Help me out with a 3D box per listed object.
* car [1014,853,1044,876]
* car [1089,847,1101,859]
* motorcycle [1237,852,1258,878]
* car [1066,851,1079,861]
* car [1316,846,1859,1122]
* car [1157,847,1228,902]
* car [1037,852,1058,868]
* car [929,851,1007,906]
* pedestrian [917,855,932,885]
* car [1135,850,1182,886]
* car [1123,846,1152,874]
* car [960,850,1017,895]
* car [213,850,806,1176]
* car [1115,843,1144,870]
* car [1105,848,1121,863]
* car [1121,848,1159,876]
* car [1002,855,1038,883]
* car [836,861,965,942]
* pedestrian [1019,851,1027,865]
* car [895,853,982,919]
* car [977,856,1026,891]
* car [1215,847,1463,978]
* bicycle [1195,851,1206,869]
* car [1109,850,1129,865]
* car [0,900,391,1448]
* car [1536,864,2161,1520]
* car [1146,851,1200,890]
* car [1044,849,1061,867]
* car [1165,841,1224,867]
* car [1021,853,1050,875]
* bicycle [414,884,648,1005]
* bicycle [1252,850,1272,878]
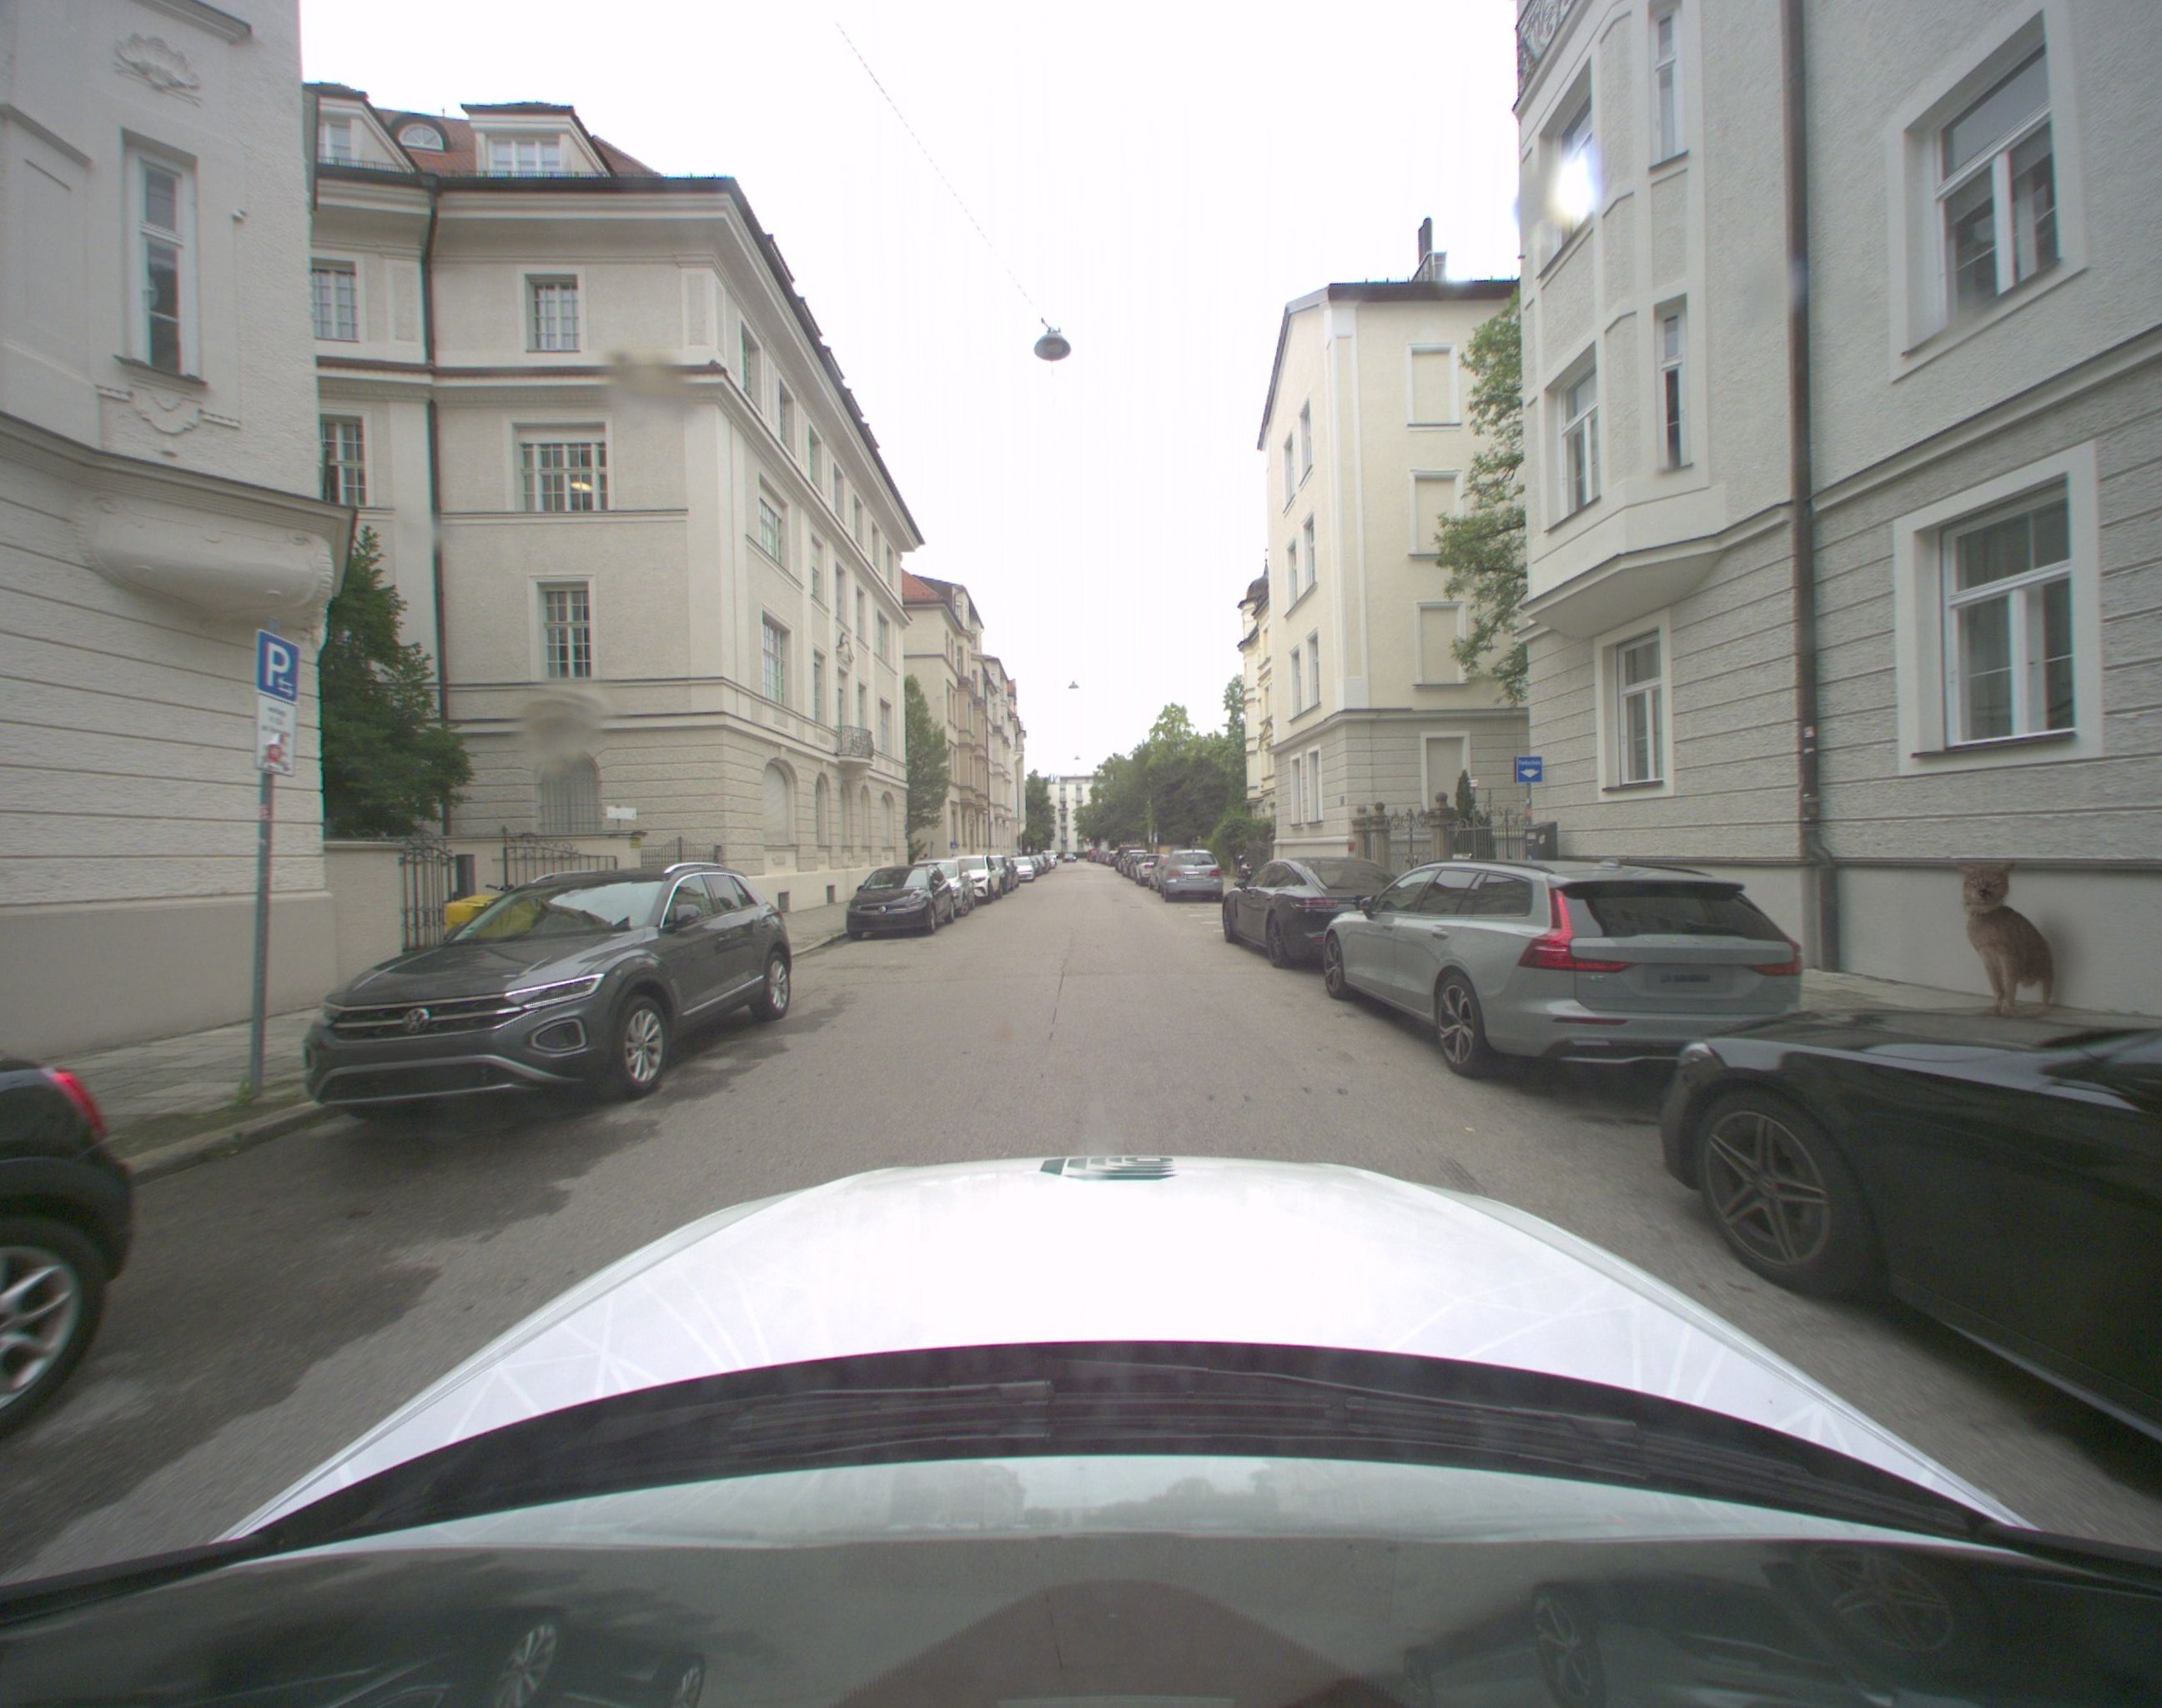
[{"bbox_3d":[-3.650,0.721,58.134,1.828,1.434,4.552,-4,1,-1],"label":"car"},{"bbox_3d":[2.282,-0.142,132.382,1.829,1.926,4.007,1,1,2],"label":"car"},{"bbox_3d":[7.427,0.466,36.416,0.604,1.112,1.966,-2,0,4],"label":"motorcycle"},{"bbox_3d":[-1.348,0.297,128.752,1.869,1.428,4.405,-2,0,-2],"label":"car"},{"bbox_3d":[3.411,0.690,6.676,1.754,1.485,4.421,1,1,1],"label":"car"},{"bbox_3d":[3.482,0.576,26.157,1.815,1.569,4.403,1,1,2],"label":"car"},{"bbox_3d":[-3.392,0.591,84.370,1.830,1.437,4.275,-5,1,1],"label":"car"},{"bbox_3d":[-3.755,0.768,27.841,1.908,1.618,4.572,-2,1,1],"label":"car"},{"bbox_3d":[-8.770,0.870,45.553,0.671,1.626,0.630,-2,0,-3],"label":"pedestrian"},{"bbox_3d":[3.467,0.586,36.980,1.778,1.504,4.065,-1,0,0],"label":"car"},{"bbox_3d":[3.725,0.364,54.198,1.717,1.769,4.413,1,0,1],"label":"car"},{"bbox_3d":[-3.719,0.706,33.418,1.830,1.618,4.244,-2,1,0],"label":"car"},{"bbox_3d":[-3.754,0.840,6.433,1.722,1.618,4.119,-4,0,-1],"label":"car"},{"bbox_3d":[3.763,0.151,63.888,1.944,1.954,4.665,0,1,0],"label":"car"},{"bbox_3d":[3.628,0.195,91.993,1.510,1.661,3.671,-1,0,-2],"label":"car"},{"bbox_3d":[3.530,0.441,49.304,1.746,1.610,4.419,0,1,-3],"label":"car"},{"bbox_3d":[-3.589,0.874,48.684,1.831,1.434,4.242,-4,1,-1],"label":"car"},{"bbox_3d":[-3.850,0.946,18.135,1.787,1.415,4.278,-4,0,0],"label":"car"},{"bbox_3d":[-7.034,0.503,98.481,0.792,1.679,0.698,-2,0,-8],"label":"pedestrian"},{"bbox_3d":[-3.885,0.810,22.830,1.779,1.541,4.252,-4,0,-3],"label":"car"},{"bbox_3d":[-3.615,0.862,37.785,1.781,1.412,4.366,-2,1,0],"label":"car"},{"bbox_3d":[3.440,0.678,11.952,1.988,1.457,4.709,-2,0,-2],"label":"car"},{"bbox_3d":[7.805,0.380,53.285,0.453,1.098,1.313,-2,0,-1],"label":"bicycle"},{"bbox_3d":[3.788,0.324,81.942,1.832,1.413,4.342,-1,0,0],"label":"car"},{"bbox_3d":[-3.888,0.976,1.276,1.830,1.394,4.246,-4,1,1],"label":"car"},{"bbox_3d":[3.340,0.789,1.686,1.832,1.399,4.968,0,1,-3],"label":"car"},{"bbox_3d":[3.550,0.599,31.872,1.748,1.406,3.451,-1,0,0],"label":"car"},{"bbox_3d":[-3.601,0.454,102.885,1.881,2.127,4.703,-5,1,-2],"label":"car"},{"bbox_3d":[9.575,-0.006,68.812,4.524,1.950,1.900,-3,2,-7],"label":"car"},{"bbox_3d":[-3.513,0.742,63.688,1.830,1.435,4.245,-5,1,1],"label":"car"},{"bbox_3d":[-7.023,1.086,10.691,1.148,1.242,2.717,2,0,1],"label":"bicycle"},{"bbox_3d":[7.636,0.417,34.426,0.432,1.125,1.882,-2,0,1],"label":"bicycle"}]
